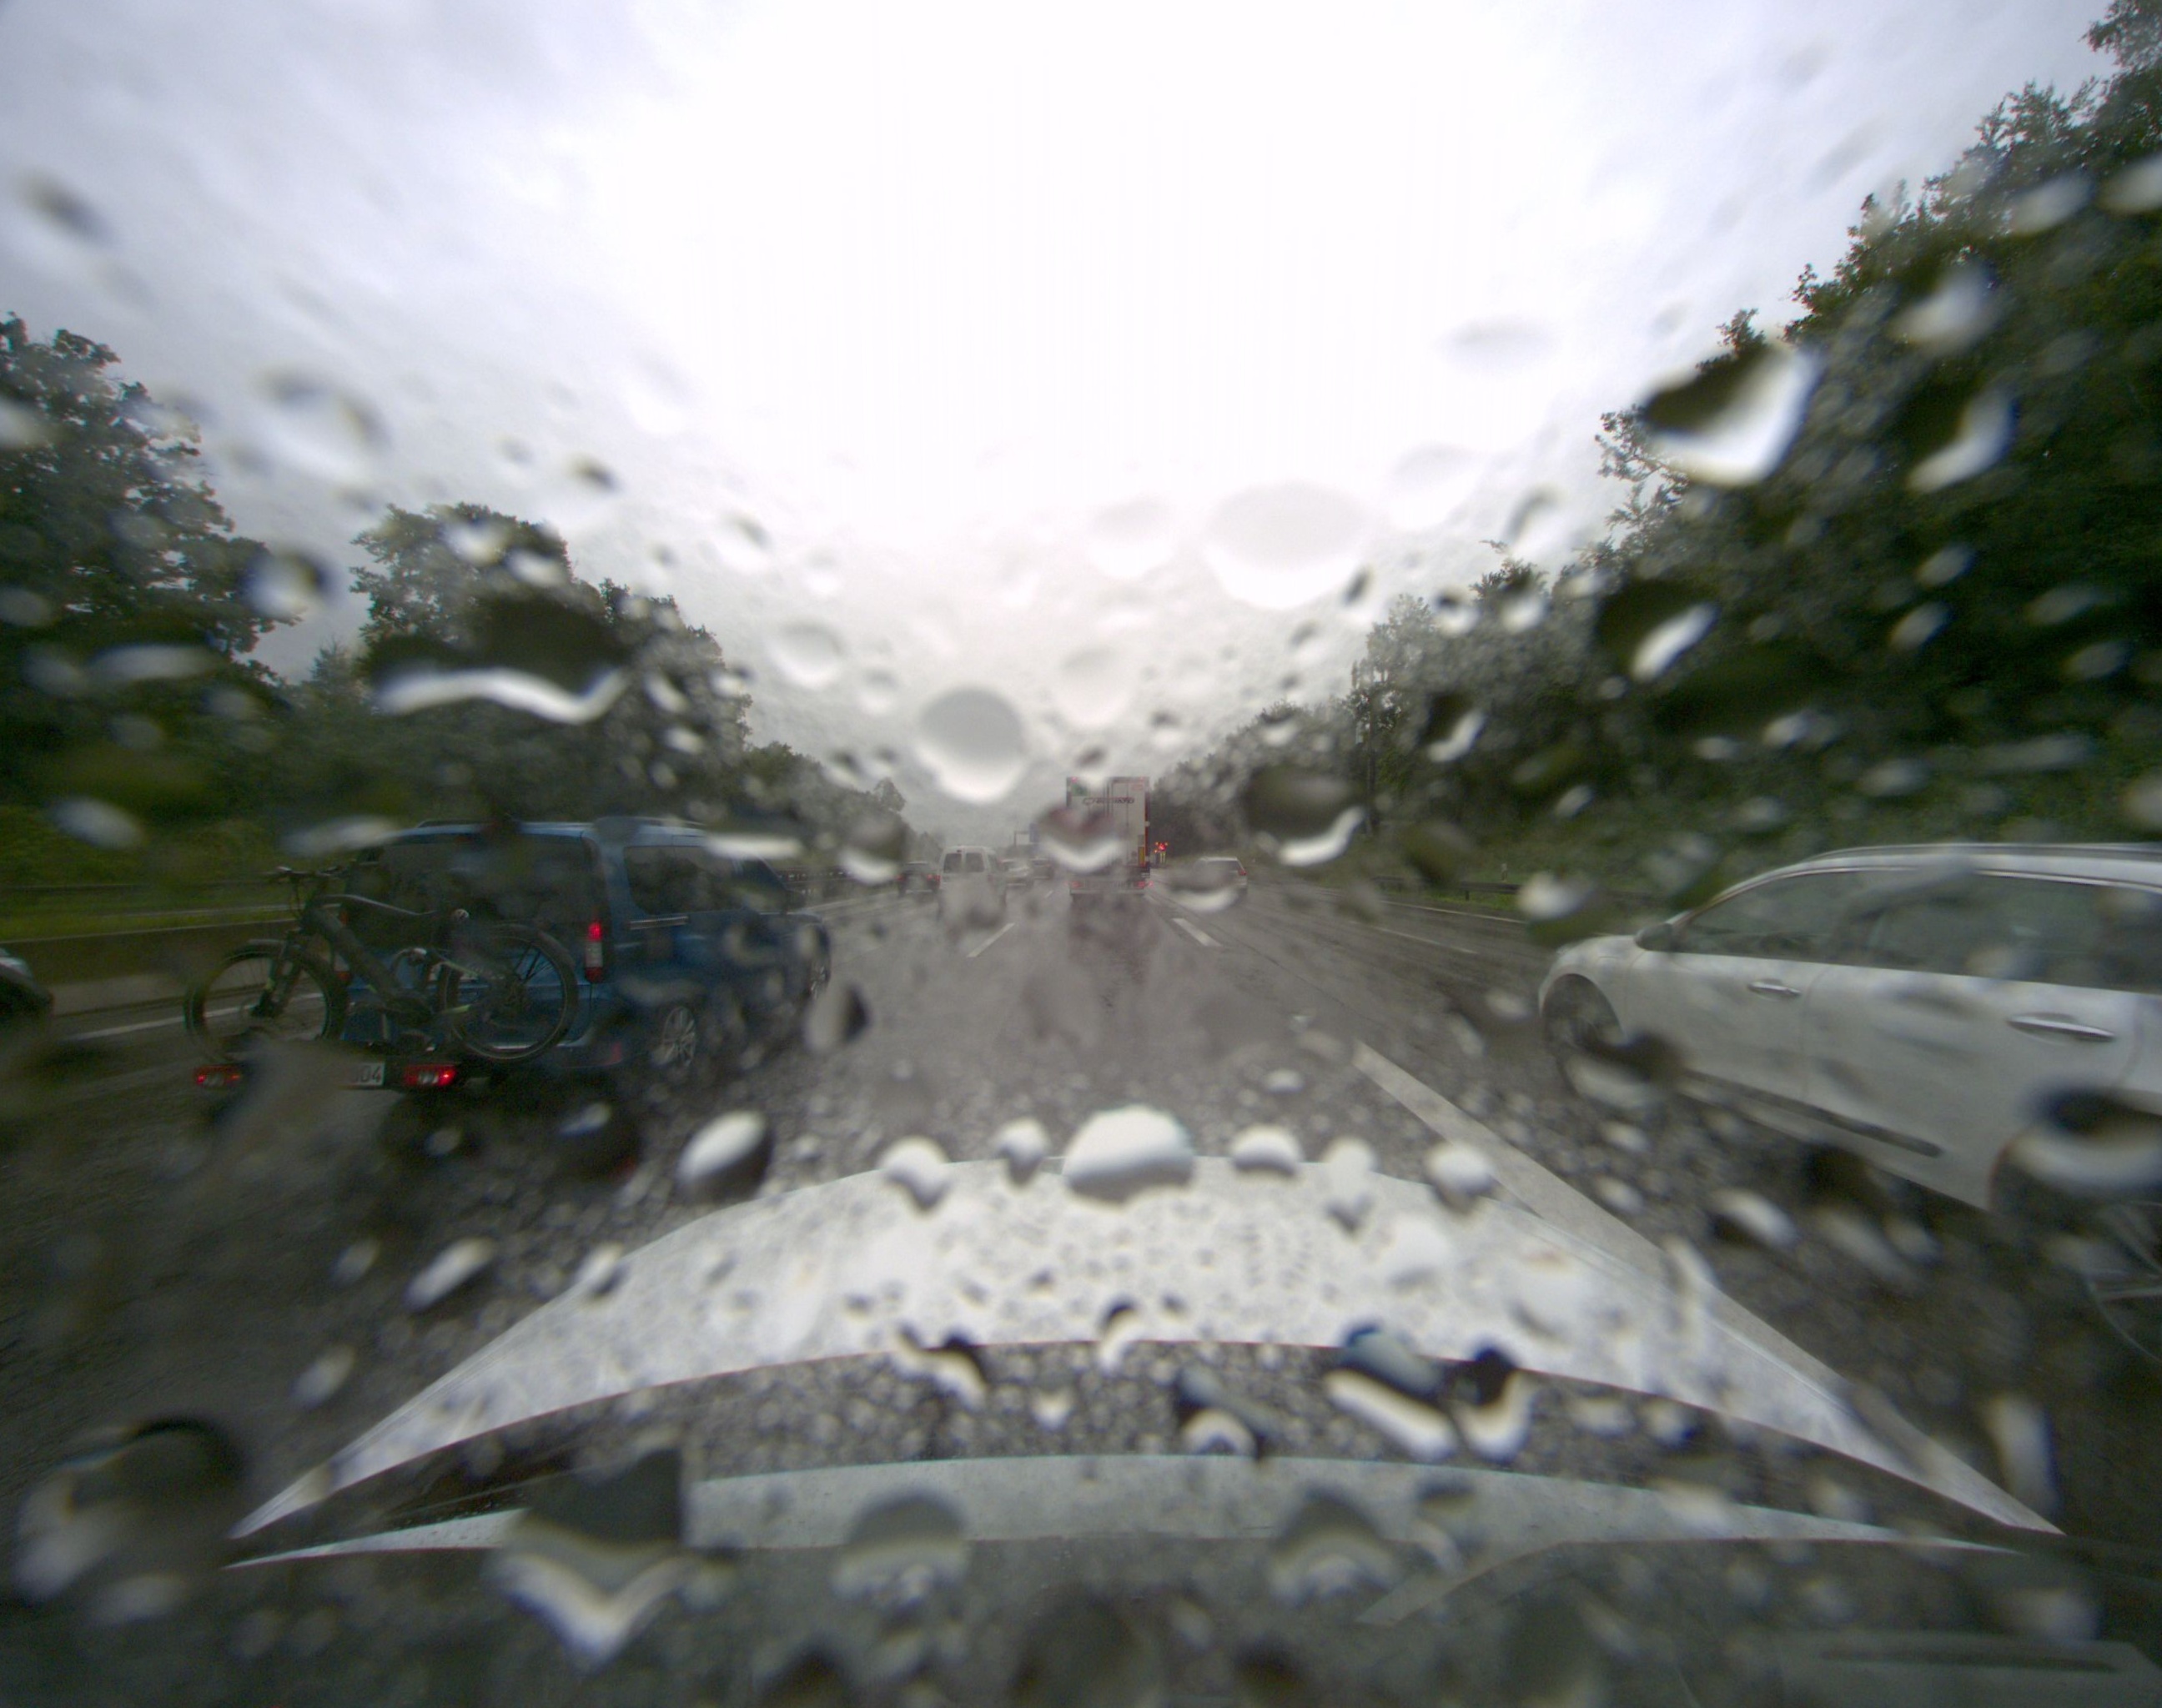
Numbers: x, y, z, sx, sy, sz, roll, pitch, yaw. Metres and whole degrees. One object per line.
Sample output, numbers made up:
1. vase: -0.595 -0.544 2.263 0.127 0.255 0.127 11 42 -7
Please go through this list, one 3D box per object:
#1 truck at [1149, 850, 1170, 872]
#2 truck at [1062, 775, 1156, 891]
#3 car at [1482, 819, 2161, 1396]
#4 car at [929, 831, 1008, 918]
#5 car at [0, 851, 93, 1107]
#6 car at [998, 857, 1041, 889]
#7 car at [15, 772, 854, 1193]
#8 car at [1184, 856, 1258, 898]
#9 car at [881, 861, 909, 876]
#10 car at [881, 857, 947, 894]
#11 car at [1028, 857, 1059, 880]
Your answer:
1. truck: 11.169 0.969 116.281 2.579 2.941 6.459 0 0 2
2. truck: 0.977 -0.590 30.709 2.862 3.562 11.303 0 -1 1
3. car: 3.791 0.662 3.718 1.839 1.523 4.344 0 0 1
4. car: -3.550 0.604 26.641 2.208 2.573 5.008 0 0 -4
5. car: -7.711 0.782 3.314 1.838 1.591 4.468 0 0 2
6. car: -3.249 0.982 43.617 1.838 1.591 4.073 0 0 2
7. car: -3.683 0.588 6.244 2.260 1.912 5.019 0 0 3
8. car: 5.002 0.768 29.687 2.000 1.394 4.568 0 0 1
9. car: -17.971 1.379 78.798 1.795 1.345 3.677 -1 0 1
10. car: -7.295 0.885 36.014 2.085 1.504 4.750 0 0 -3
11. car: -2.691 1.034 59.077 1.838 1.591 4.468 0 0 2
